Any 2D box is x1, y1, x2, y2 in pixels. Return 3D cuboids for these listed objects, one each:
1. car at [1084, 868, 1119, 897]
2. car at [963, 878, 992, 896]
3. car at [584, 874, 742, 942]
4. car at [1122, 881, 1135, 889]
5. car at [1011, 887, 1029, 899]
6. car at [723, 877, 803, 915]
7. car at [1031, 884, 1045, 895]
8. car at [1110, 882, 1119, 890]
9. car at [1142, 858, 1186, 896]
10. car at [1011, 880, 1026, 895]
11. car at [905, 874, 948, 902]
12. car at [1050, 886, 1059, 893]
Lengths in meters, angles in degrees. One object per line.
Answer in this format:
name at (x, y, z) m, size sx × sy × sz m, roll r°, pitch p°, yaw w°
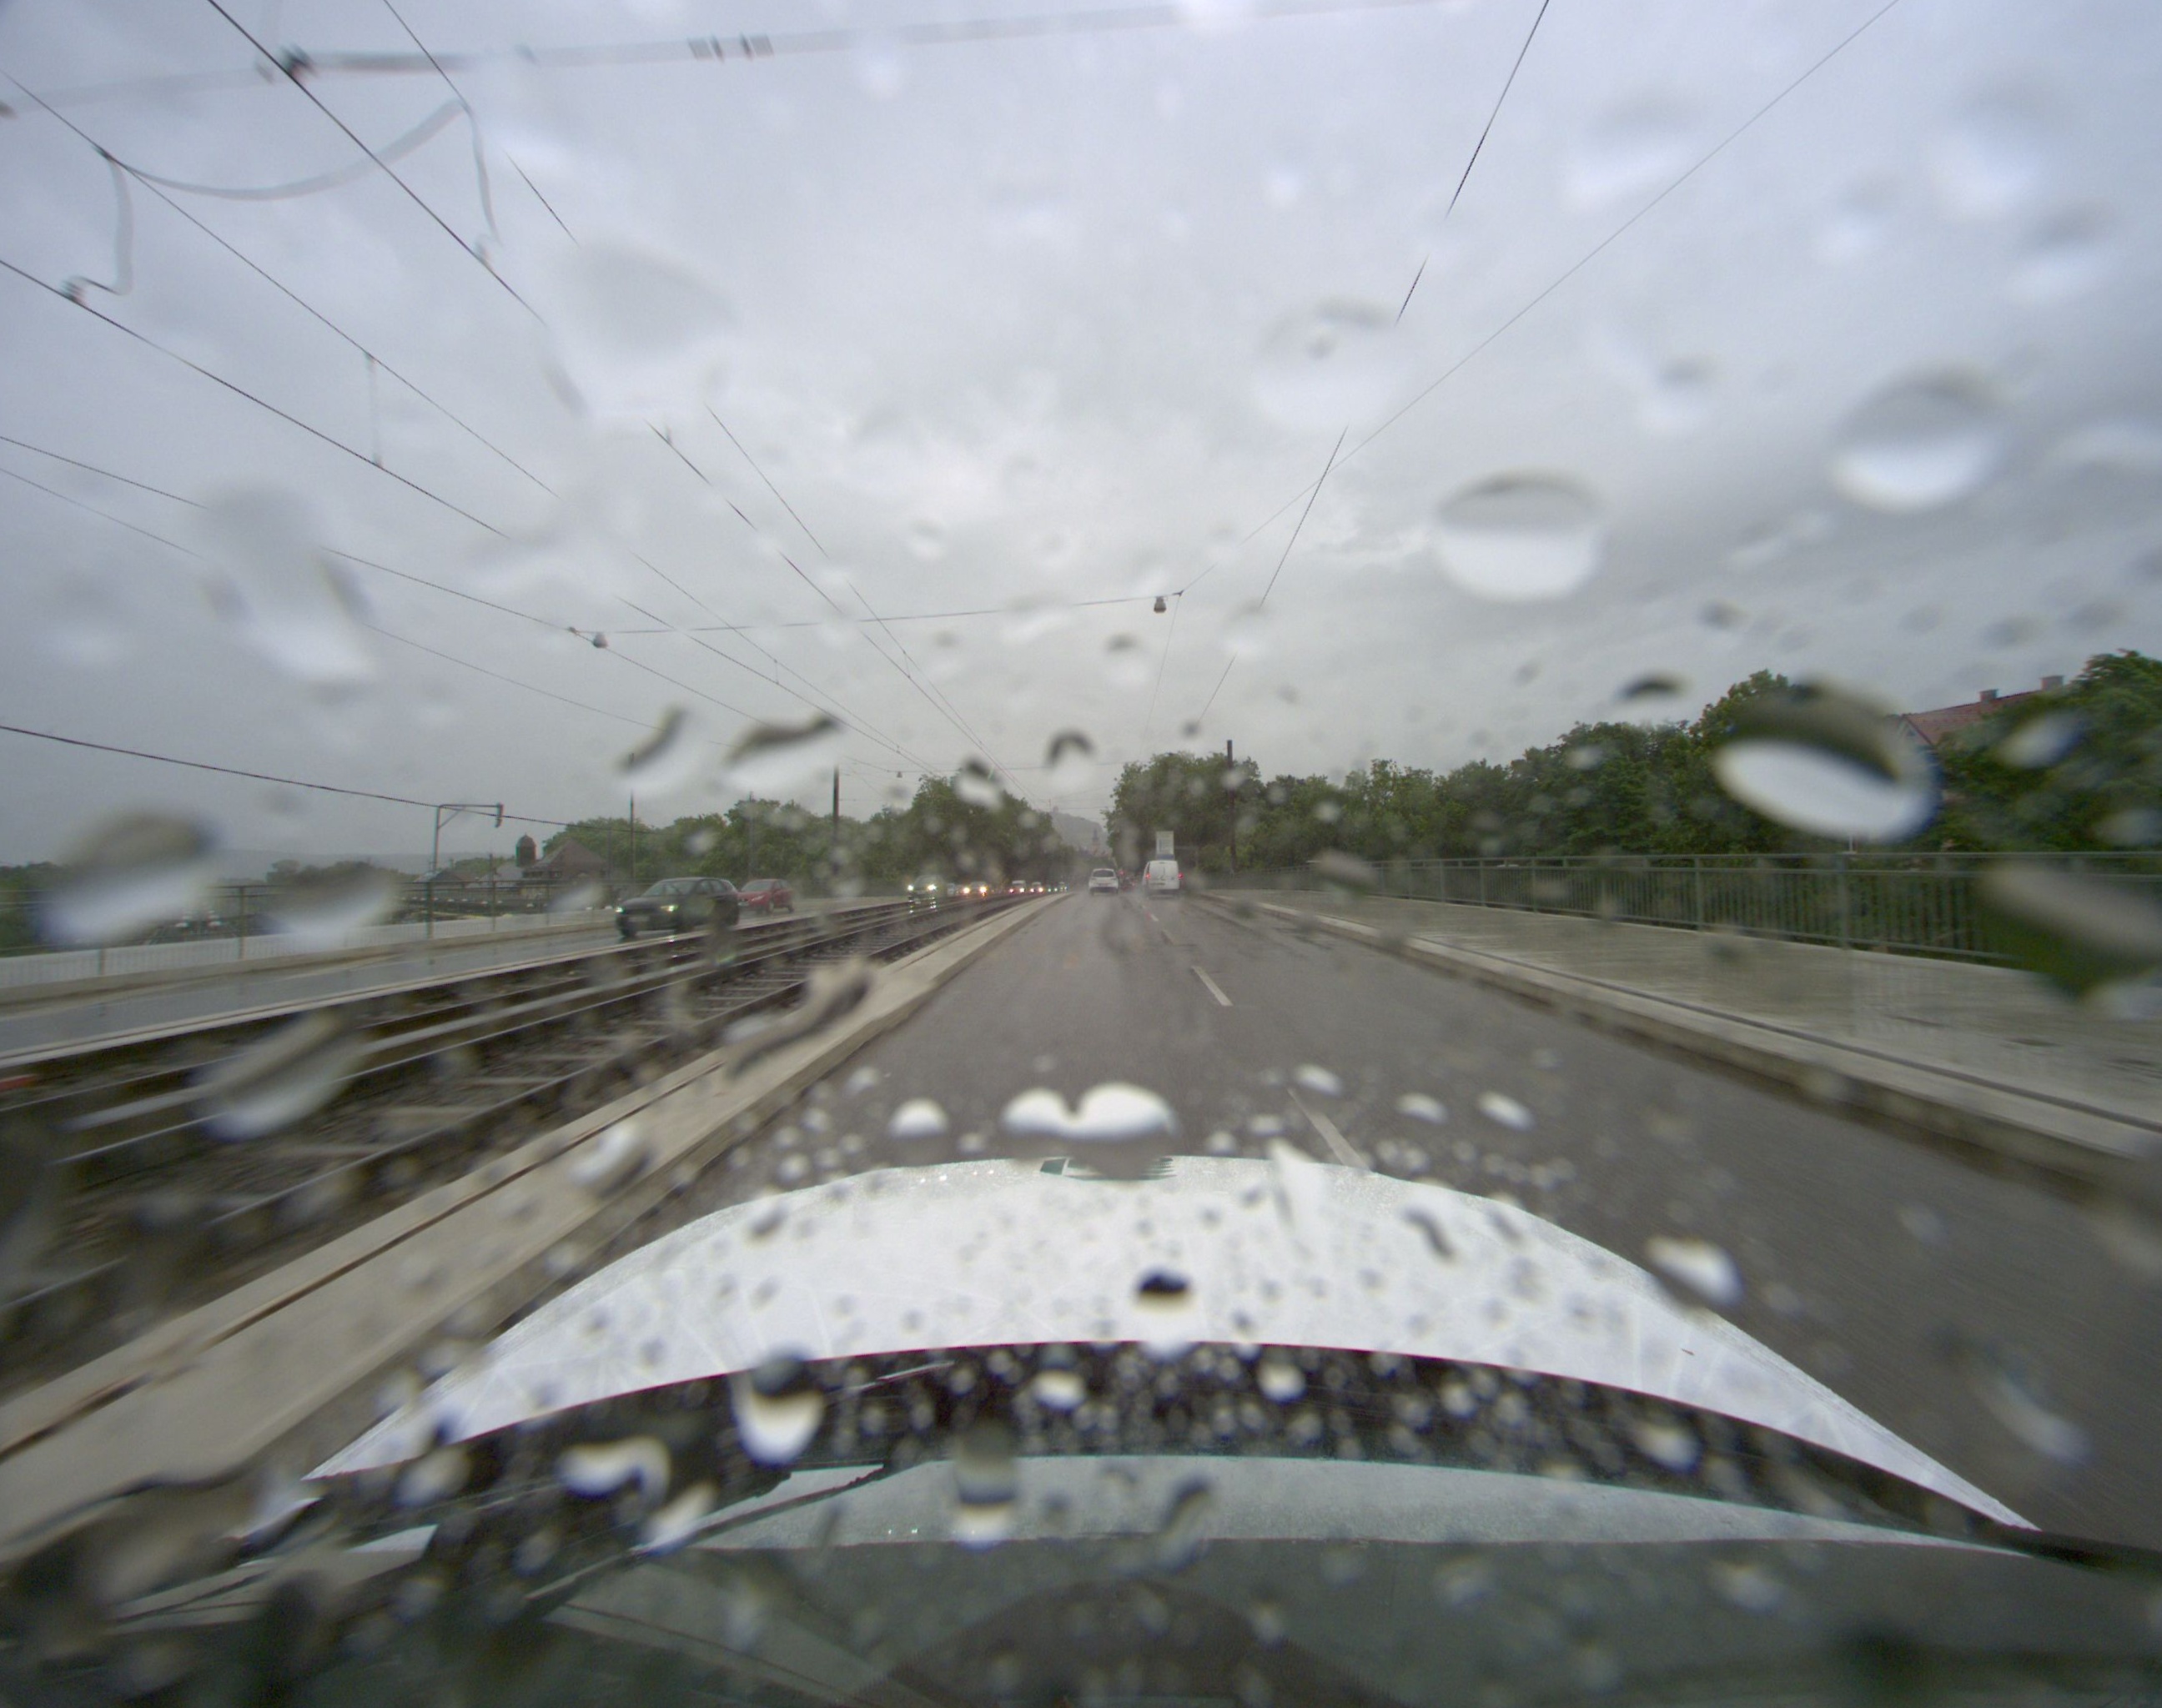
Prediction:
car at (1.332, 1.737, 50.521) m, size 1.985 × 1.717 × 4.004 m, roll 0°, pitch -2°, yaw 4°
car at (-8.830, 2.778, 69.928) m, size 1.792 × 1.482 × 4.085 m, roll 0°, pitch -2°, yaw 2°
car at (-10.944, 1.359, 21.702) m, size 1.987 × 1.509 × 4.092 m, roll -3°, pitch -2°, yaw 1°
car at (7.538, 4.883, 128.819) m, size 1.985 × 1.321 × 4.004 m, roll 0°, pitch -2°, yaw 4°
car at (-7.757, 4.928, 103.219) m, size 1.792 × 1.316 × 4.085 m, roll 0°, pitch -2°, yaw 2°
car at (-13.498, 1.753, 34.853) m, size 1.615 × 1.456 × 4.322 m, roll -3°, pitch -2°, yaw 1°
car at (-7.017, 5.758, 132.102) m, size 1.809 × 1.368 × 4.268 m, roll 0°, pitch 1°, yaw 2°
car at (7.408, 7.018, 179.924) m, size 1.985 × 1.827 × 4.004 m, roll 0°, pitch -2°, yaw 4°
car at (3.950, 1.093, 39.271) m, size 1.985 × 1.726 × 4.004 m, roll 0°, pitch -2°, yaw 4°
car at (-10.177, 5.447, 133.370) m, size 1.735 × 2.169 × 5.813 m, roll -3°, pitch -2°, yaw 1°
car at (-9.617, 2.098, 50.975) m, size 1.811 × 1.655 × 4.002 m, roll 0°, pitch -2°, yaw 2°
car at (-6.008, 8.097, 185.633) m, size 1.500 × 1.401 × 4.709 m, roll -3°, pitch -2°, yaw 2°
